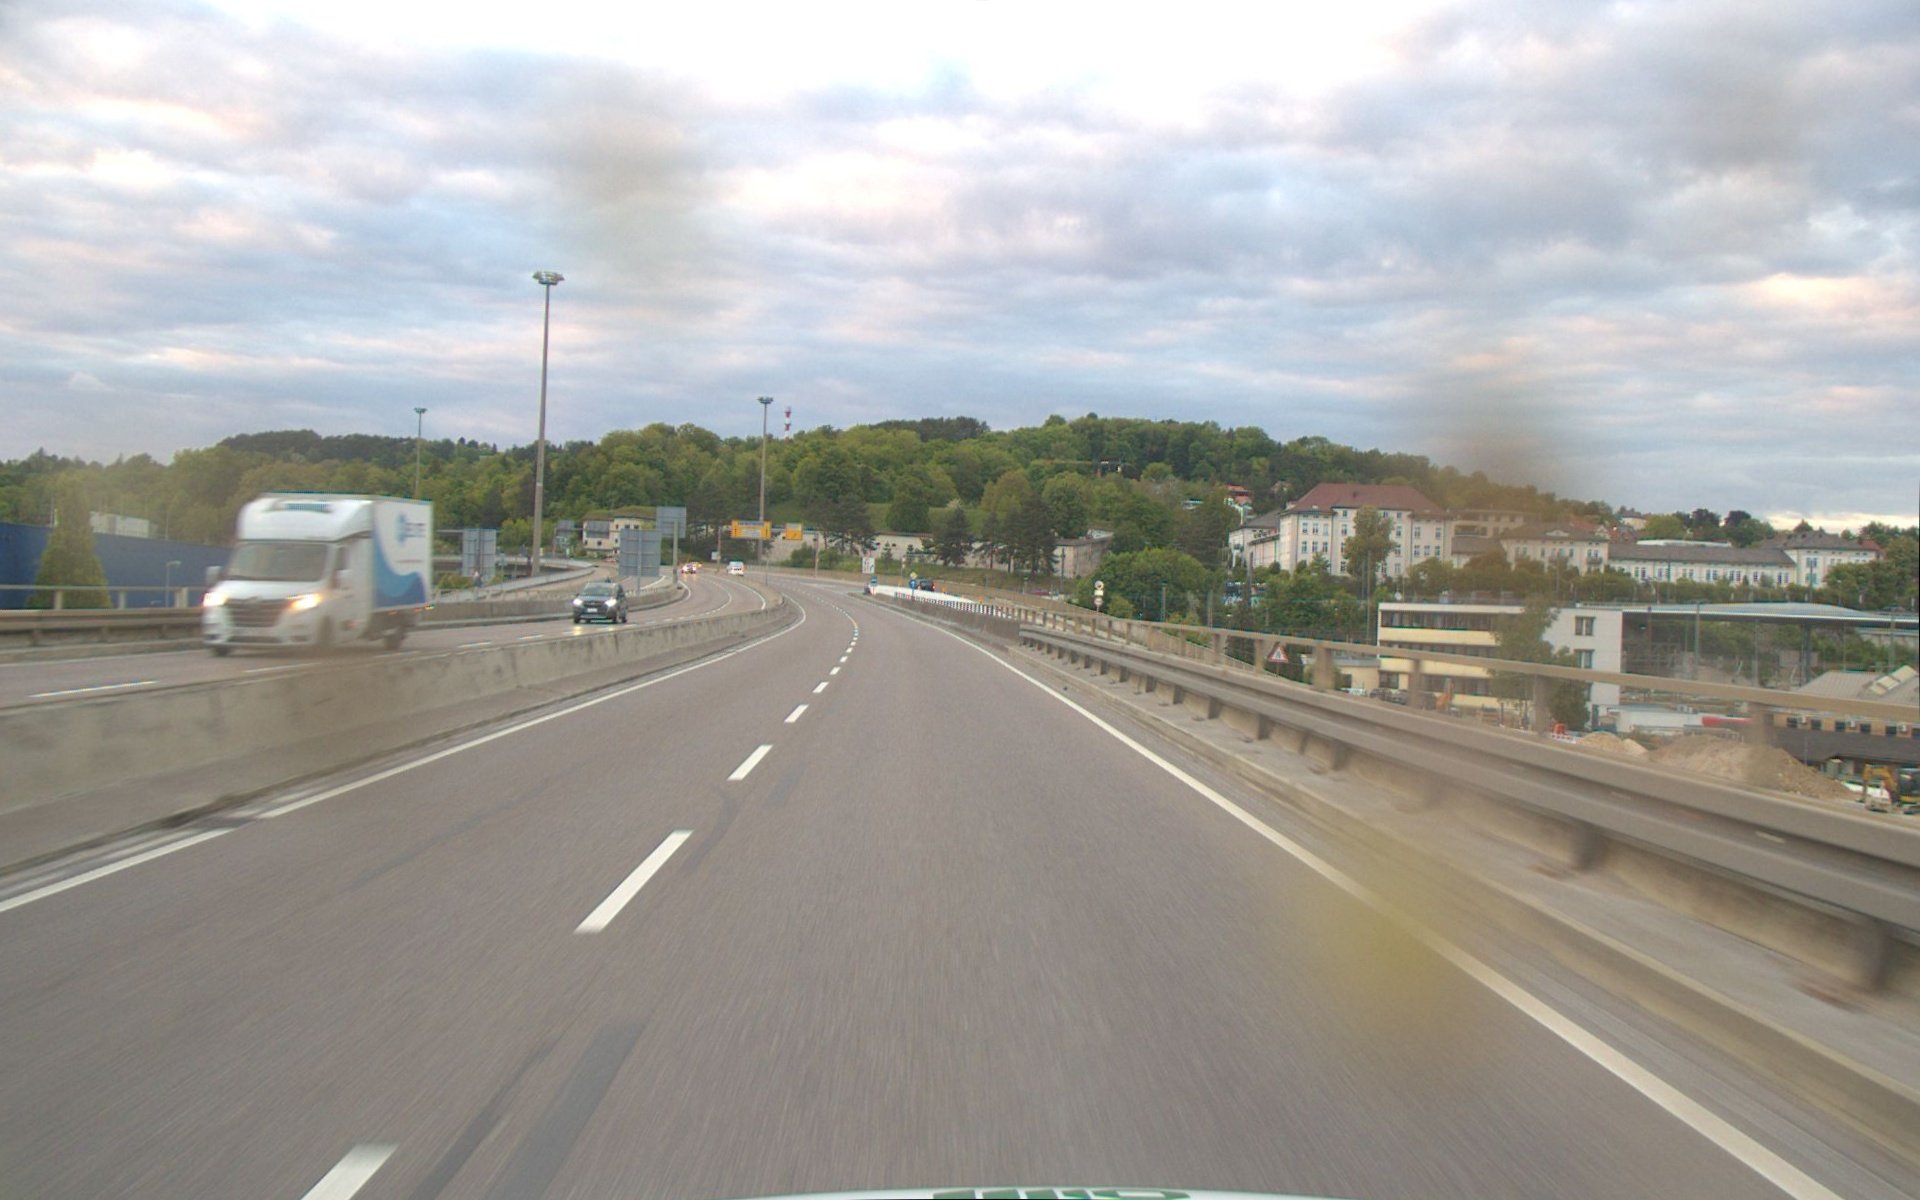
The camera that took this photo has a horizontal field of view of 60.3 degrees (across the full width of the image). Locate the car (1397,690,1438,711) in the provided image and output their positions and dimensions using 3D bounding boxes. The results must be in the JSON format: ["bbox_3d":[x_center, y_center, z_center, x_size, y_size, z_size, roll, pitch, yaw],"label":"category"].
[{"bbox_3d":[45.278,9.959,163.780,3.958,1.592,1.809,6,2,-38],"label":"car"}]

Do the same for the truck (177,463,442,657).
[{"bbox_3d":[-12.580,-0.705,32.753,2.484,3.354,7.443,1,0,-2],"label":"truck"}]

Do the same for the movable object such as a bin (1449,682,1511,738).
[{"bbox_3d":[47.214,9.960,150.319,2.731,4.382,4.937,8,-1,-15],"label":"movable object such as a bin"}]

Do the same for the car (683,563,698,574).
[{"bbox_3d":[-39.970,-4.680,244.908,1.799,1.506,4.270,1,0,-15],"label":"car"}]

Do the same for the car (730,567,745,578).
[{"bbox_3d":[-32.005,-3.980,237.451,1.604,1.412,3.984,0,2,-16],"label":"car"}]

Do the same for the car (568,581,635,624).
[{"bbox_3d":[-14.142,0.096,65.425,1.938,1.634,4.438,1,0,-4],"label":"car"}]

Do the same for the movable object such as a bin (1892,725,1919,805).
[{"bbox_3d":[56.973,9.799,95.345,4.867,4.382,2.771,8,-1,-18],"label":"movable object such as a bin"}]

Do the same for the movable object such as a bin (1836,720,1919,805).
[{"bbox_3d":[55.633,9.778,98.904,4.867,4.382,2.771,8,-1,-18],"label":"movable object such as a bin"}]

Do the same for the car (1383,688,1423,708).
[{"bbox_3d":[44.983,9.959,167.913,3.958,1.592,1.809,6,2,-38],"label":"car"}]

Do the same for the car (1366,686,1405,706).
[{"bbox_3d":[44.023,9.944,171.033,3.958,1.592,1.809,6,2,-38],"label":"car"}]

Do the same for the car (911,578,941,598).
[{"bbox_3d":[-3.417,-1.204,165.470,2.264,1.794,4.250,3,1,-12],"label":"car"}]
